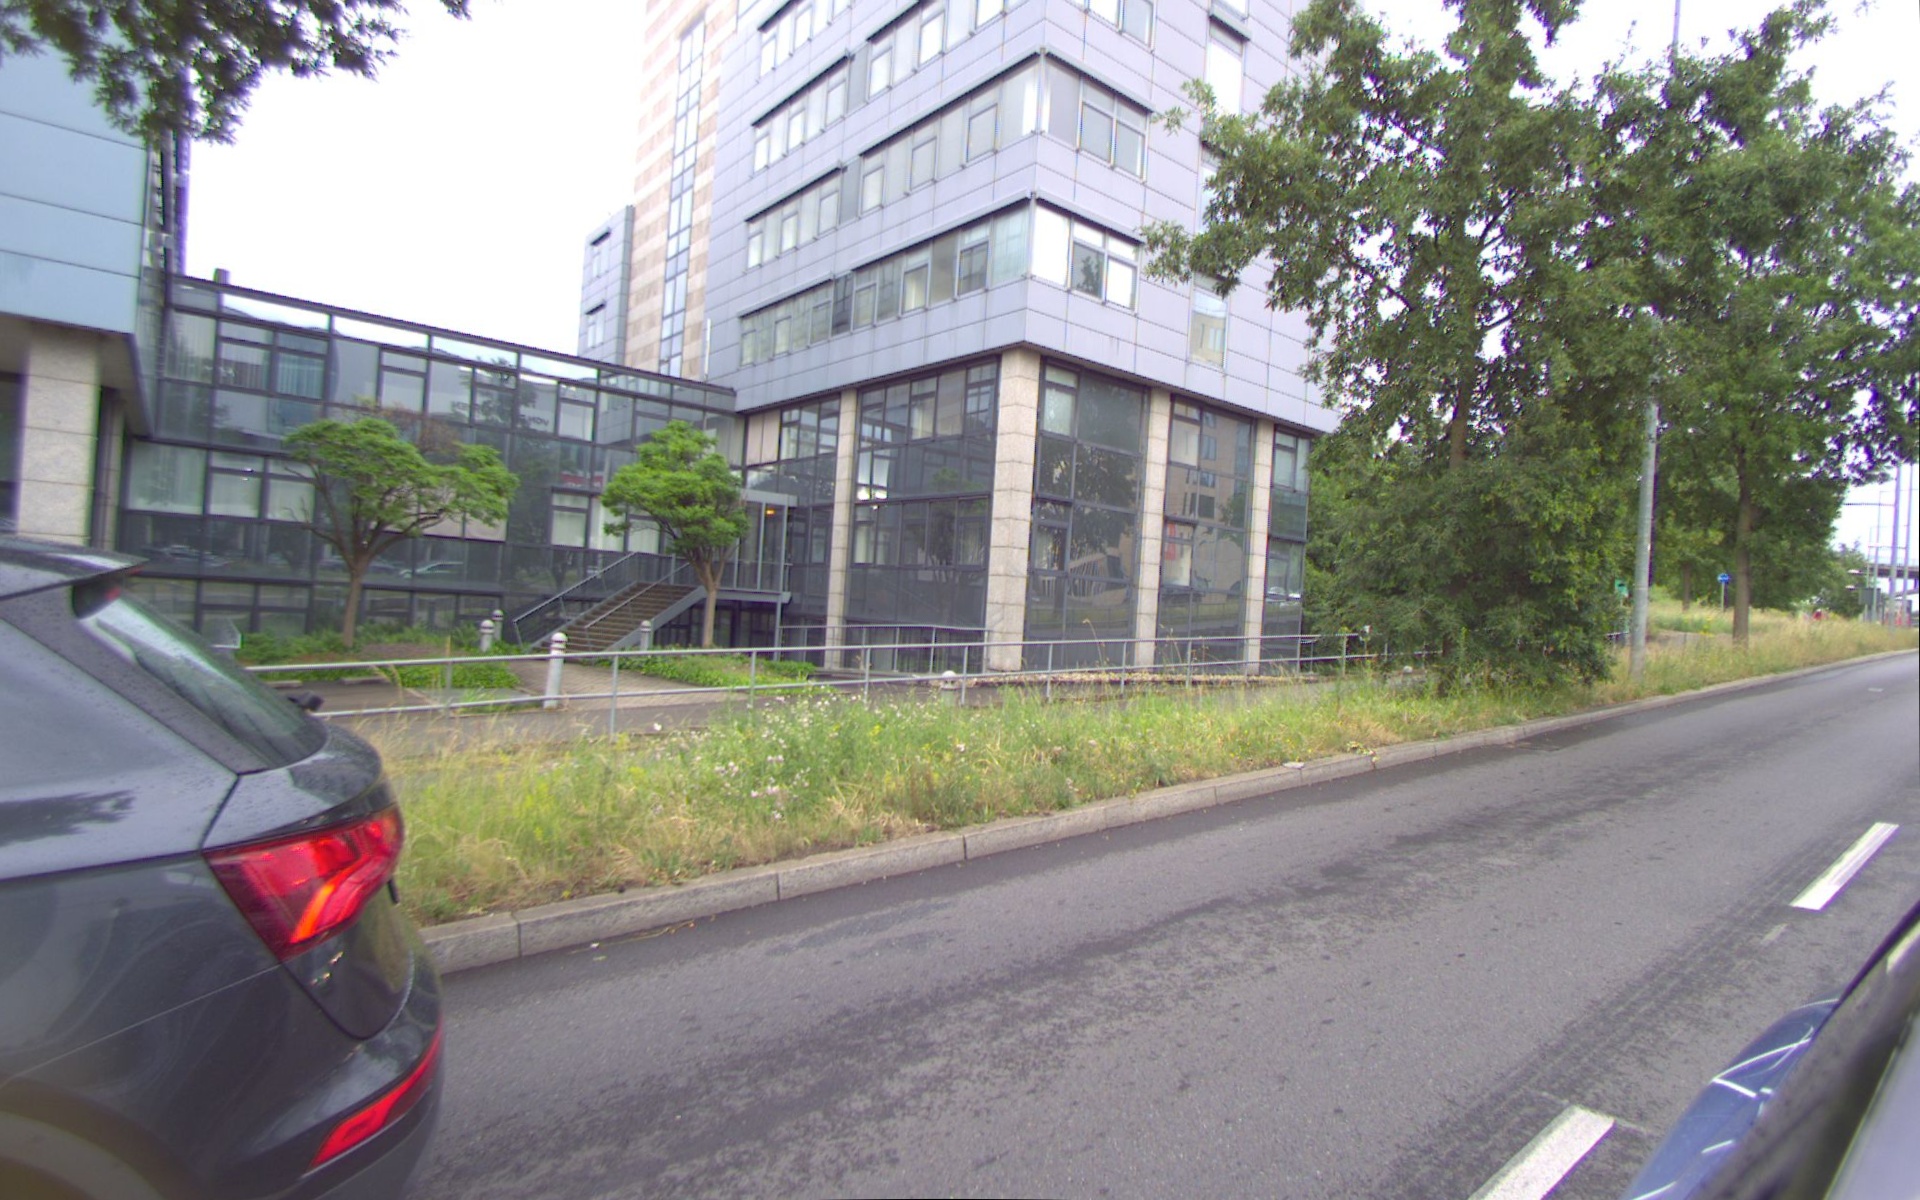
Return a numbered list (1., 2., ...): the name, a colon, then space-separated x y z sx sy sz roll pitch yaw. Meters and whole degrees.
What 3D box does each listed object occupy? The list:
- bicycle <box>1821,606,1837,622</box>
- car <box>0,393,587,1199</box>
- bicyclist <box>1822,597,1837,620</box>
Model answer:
1. bicycle: 60.399 0.983 70.305 1.872 1.102 0.581 1 -1 -41
2. car: -2.906 0.532 1.020 4.392 1.633 1.821 0 1 -41
3. bicyclist: 60.412 0.575 70.294 0.839 1.599 0.647 1 -1 -41
